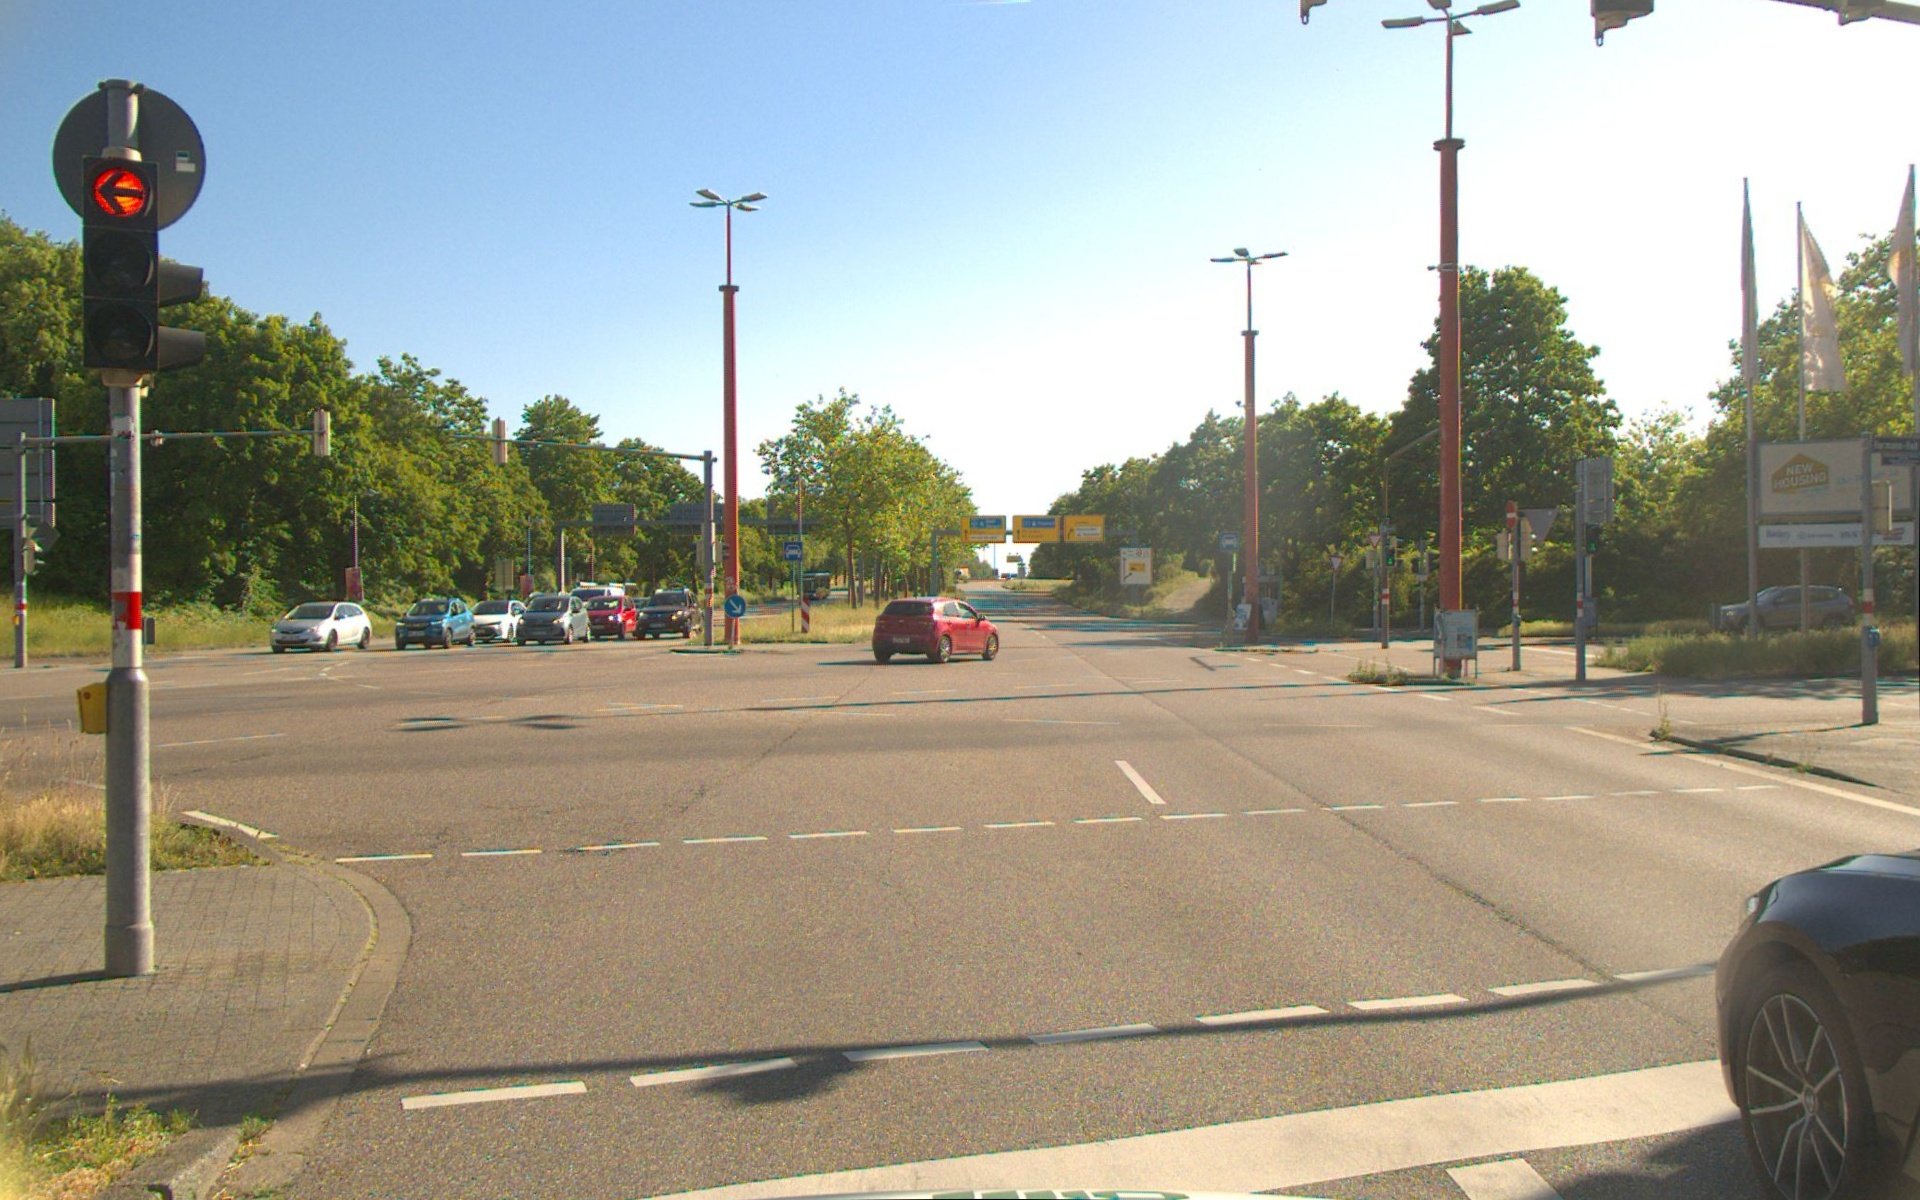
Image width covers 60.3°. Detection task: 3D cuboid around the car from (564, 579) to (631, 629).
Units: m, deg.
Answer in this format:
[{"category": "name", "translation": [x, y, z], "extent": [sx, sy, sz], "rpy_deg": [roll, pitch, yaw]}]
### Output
[{"category": "car", "translation": [-15.514, 0.179, 71.105], "extent": [1.855, 2.061, 5.221], "rpy_deg": [0, 0, -2]}]

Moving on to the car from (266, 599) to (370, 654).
[{"category": "car", "translation": [-19.473, 0.774, 50.316], "extent": [1.725, 1.559, 3.934], "rpy_deg": [0, 0, -2]}]

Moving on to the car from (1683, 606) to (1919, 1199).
[{"category": "car", "translation": [2.913, 0.733, 2.363], "extent": [1.831, 1.422, 4.443], "rpy_deg": [0, 0, 0]}]

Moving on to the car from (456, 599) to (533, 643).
[{"category": "car", "translation": [-15.927, 0.699, 56.794], "extent": [1.704, 1.436, 3.611], "rpy_deg": [0, 0, -2]}]

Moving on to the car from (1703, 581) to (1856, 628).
[{"category": "car", "translation": [27.341, 0.140, 55.257], "extent": [4.224, 1.511, 1.786], "rpy_deg": [0, 0, 4]}]

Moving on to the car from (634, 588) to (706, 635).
[{"category": "car", "translation": [-9.804, 0.365, 56.204], "extent": [1.782, 1.534, 3.999], "rpy_deg": [0, 0, -1]}]

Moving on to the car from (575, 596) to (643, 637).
[{"category": "car", "translation": [-12.277, 0.551, 58.076], "extent": [1.704, 1.386, 3.611], "rpy_deg": [0, 0, -2]}]

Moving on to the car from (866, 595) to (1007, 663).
[{"category": "car", "translation": [-0.470, 0.626, 38.126], "extent": [1.647, 1.460, 4.062], "rpy_deg": [0, 0, 25]}]

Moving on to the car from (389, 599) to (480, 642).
[{"category": "car", "translation": [-16.050, 0.610, 50.677], "extent": [1.704, 1.265, 3.611], "rpy_deg": [0, 0, -2]}]

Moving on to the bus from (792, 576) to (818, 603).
[{"category": "bus", "translation": [-19.754, -1.320, 210.889], "extent": [2.441, 3.295, 9.998], "rpy_deg": [0, 0, -1]}]

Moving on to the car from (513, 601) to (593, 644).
[{"category": "car", "translation": [-12.669, 0.668, 51.699], "extent": [1.704, 1.265, 3.611], "rpy_deg": [0, 0, -2]}]
